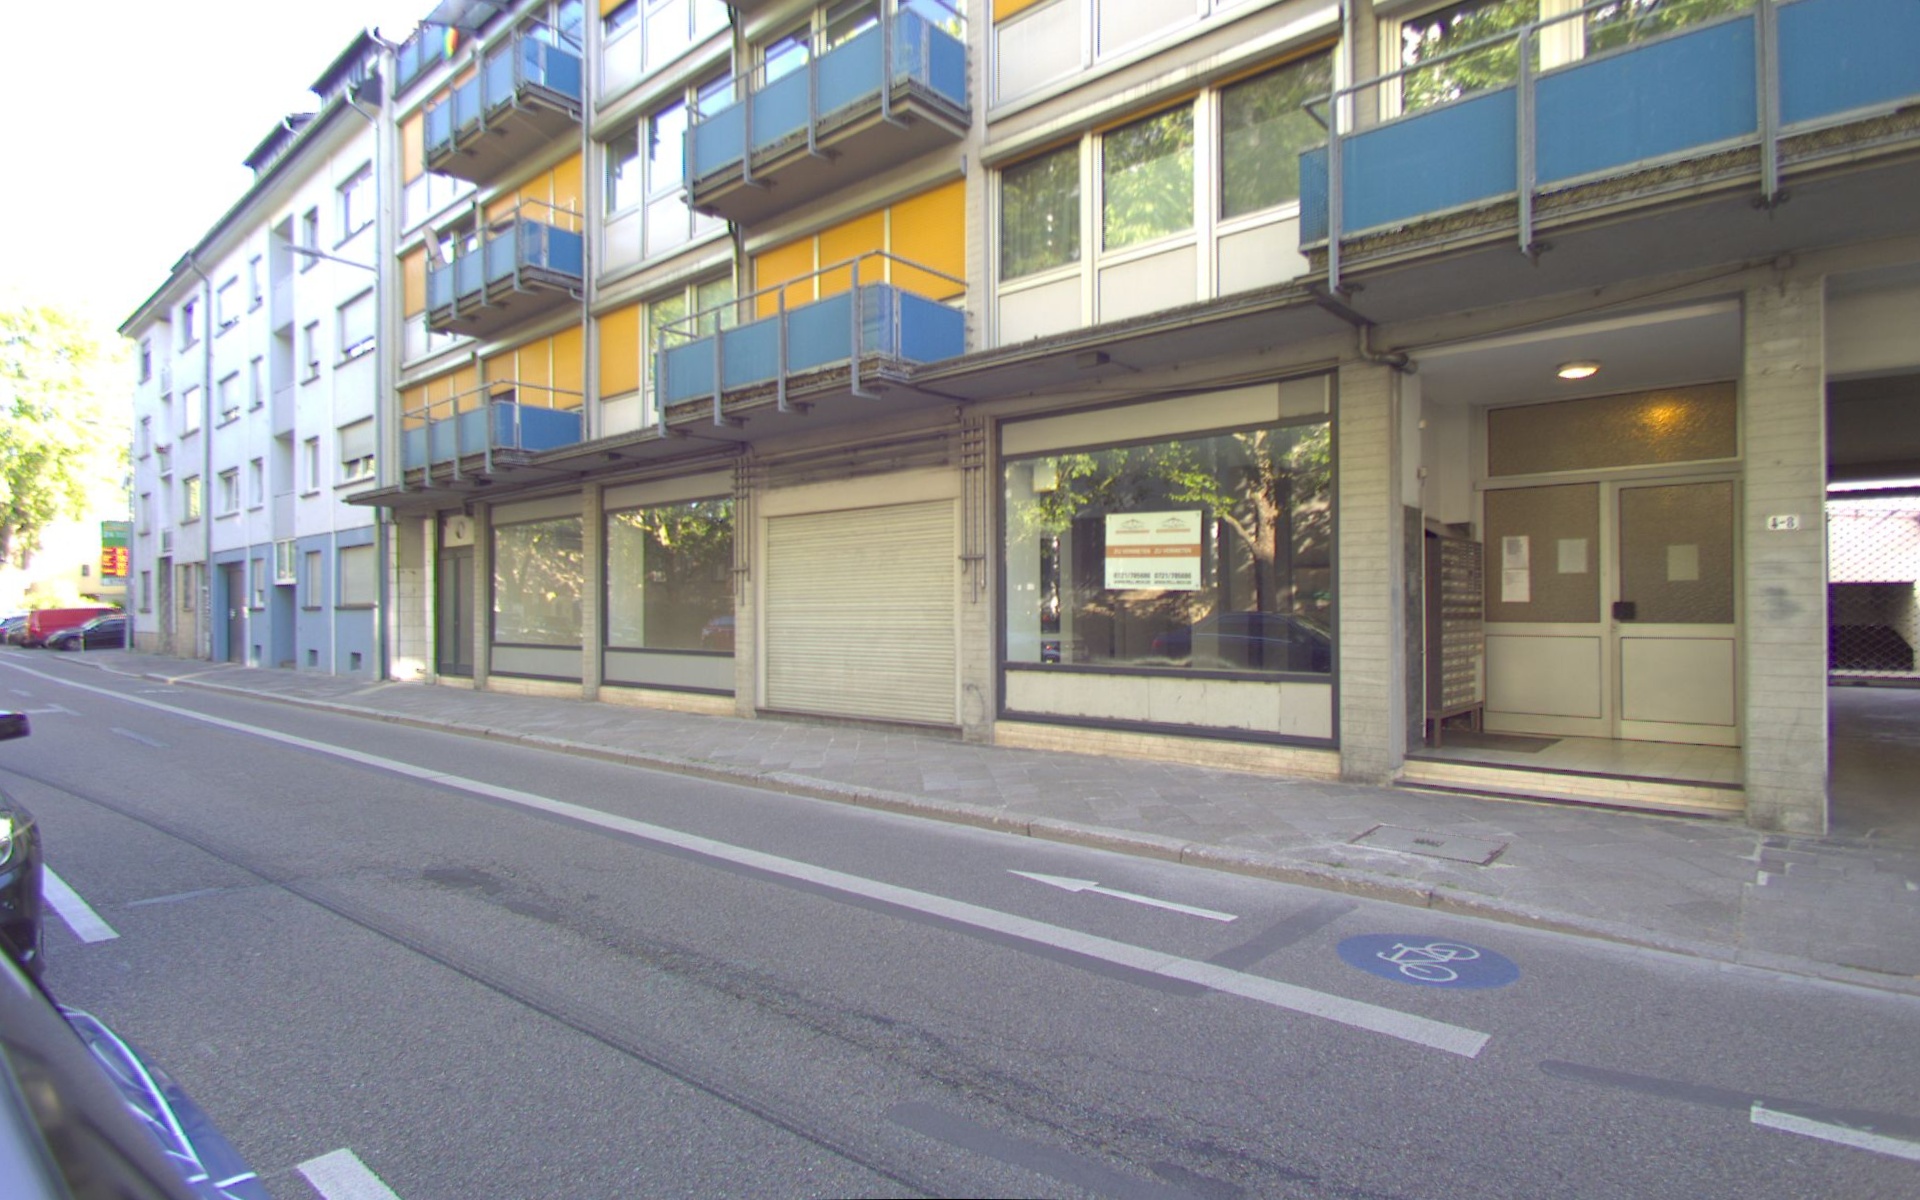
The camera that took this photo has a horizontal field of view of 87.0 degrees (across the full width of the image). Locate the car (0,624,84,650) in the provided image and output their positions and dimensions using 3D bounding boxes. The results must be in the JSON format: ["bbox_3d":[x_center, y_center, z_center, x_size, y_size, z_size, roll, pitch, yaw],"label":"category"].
[{"bbox_3d":[-53.369,2.117,58.562,1.594,1.385,3.854,-1,0,42],"label":"car"}]

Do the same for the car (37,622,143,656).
[{"bbox_3d":[-39.800,1.748,46.354,1.534,1.420,3.551,-2,-1,42],"label":"car"}]

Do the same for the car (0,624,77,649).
[{"bbox_3d":[-55.385,2.178,60.441,1.525,1.343,3.854,-1,0,42],"label":"car"}]

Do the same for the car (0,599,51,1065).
[{"bbox_3d":[-5.264,0.784,4.086,4.291,1.515,1.805,-1,0,40],"label":"car"}]

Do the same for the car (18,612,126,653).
[{"bbox_3d":[-43.711,1.566,49.867,1.749,1.921,3.854,-1,-1,42],"label":"car"}]

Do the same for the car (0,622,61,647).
[{"bbox_3d":[-59.221,2.189,63.760,1.539,1.451,3.733,-1,0,42],"label":"car"}]

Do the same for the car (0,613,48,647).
[{"bbox_3d":[-62.719,1.968,66.590,1.725,2.193,3.854,-1,0,42],"label":"car"}]

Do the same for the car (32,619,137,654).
[{"bbox_3d":[-41.518,1.702,48.050,1.602,1.521,3.620,-1,0,42],"label":"car"}]

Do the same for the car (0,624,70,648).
[{"bbox_3d":[-57.191,2.201,62.002,1.525,1.343,3.854,-1,0,42],"label":"car"}]

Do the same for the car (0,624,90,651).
[{"bbox_3d":[-51.855,2.097,57.223,1.594,1.385,3.854,-1,0,42],"label":"car"}]

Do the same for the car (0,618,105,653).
[{"bbox_3d":[-46.058,1.782,51.406,1.603,1.598,3.854,-1,0,42],"label":"car"}]
